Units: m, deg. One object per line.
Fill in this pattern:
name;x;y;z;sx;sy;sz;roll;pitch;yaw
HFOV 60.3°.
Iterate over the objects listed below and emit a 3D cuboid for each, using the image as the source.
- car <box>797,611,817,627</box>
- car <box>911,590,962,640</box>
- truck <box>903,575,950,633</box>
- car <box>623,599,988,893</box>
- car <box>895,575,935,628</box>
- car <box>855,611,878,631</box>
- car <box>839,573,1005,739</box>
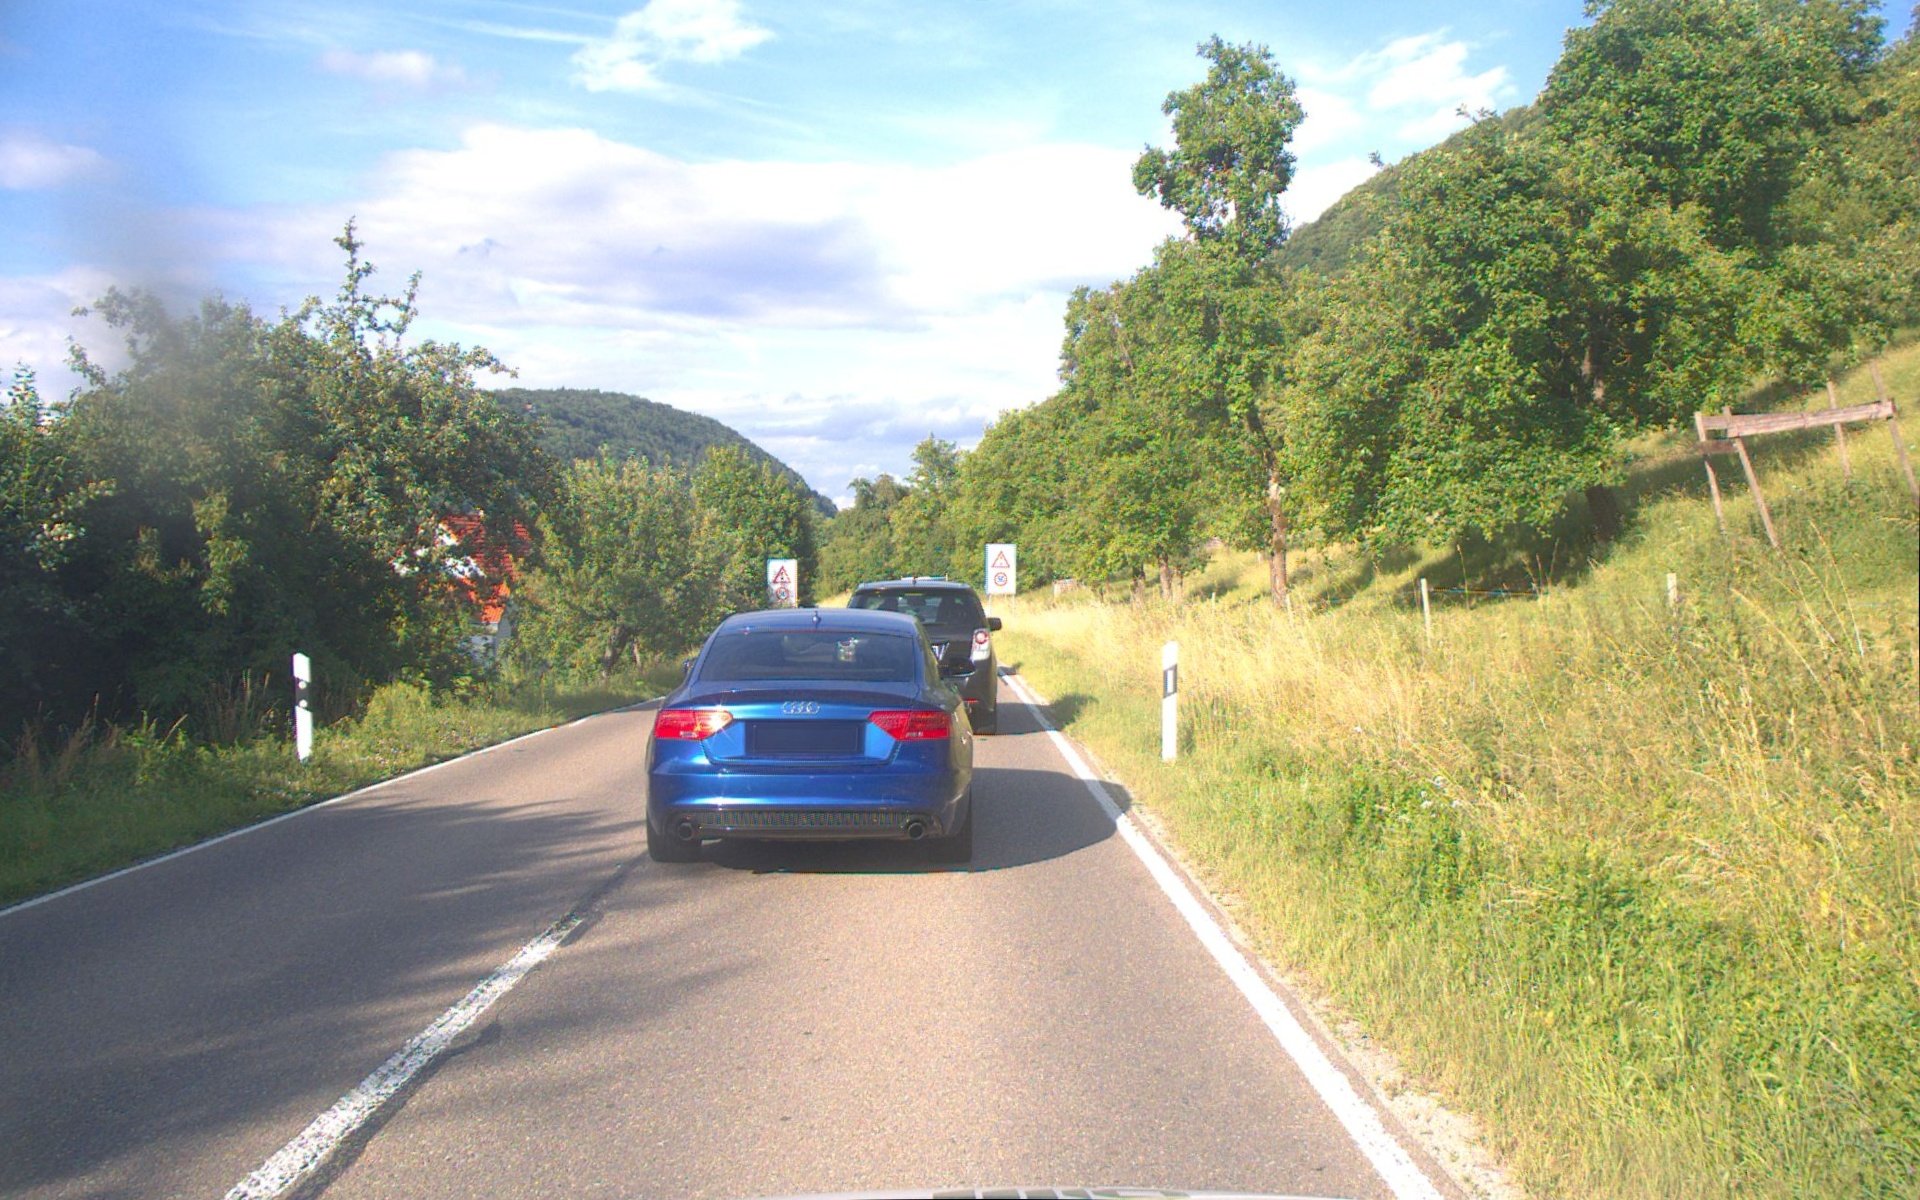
car;-15.812;1.921;170.930;1.532;1.522;3.765;1;0;-13
car;-0.814;0.489;56.294;1.658;1.652;3.788;0;0;-1
truck;-1.459;0.162;71.485;1.910;2.386;5.092;1;0;-2
car;-0.772;0.708;10.146;1.769;1.406;4.214;0;0;-1
car;-2.254;0.072;81.482;1.757;2.496;3.916;1;0;-4
car;-7.739;1.731;136.871;1.530;1.522;3.770;1;0;-9
car;-0.416;0.549;18.416;1.658;1.652;3.788;0;0;-1
